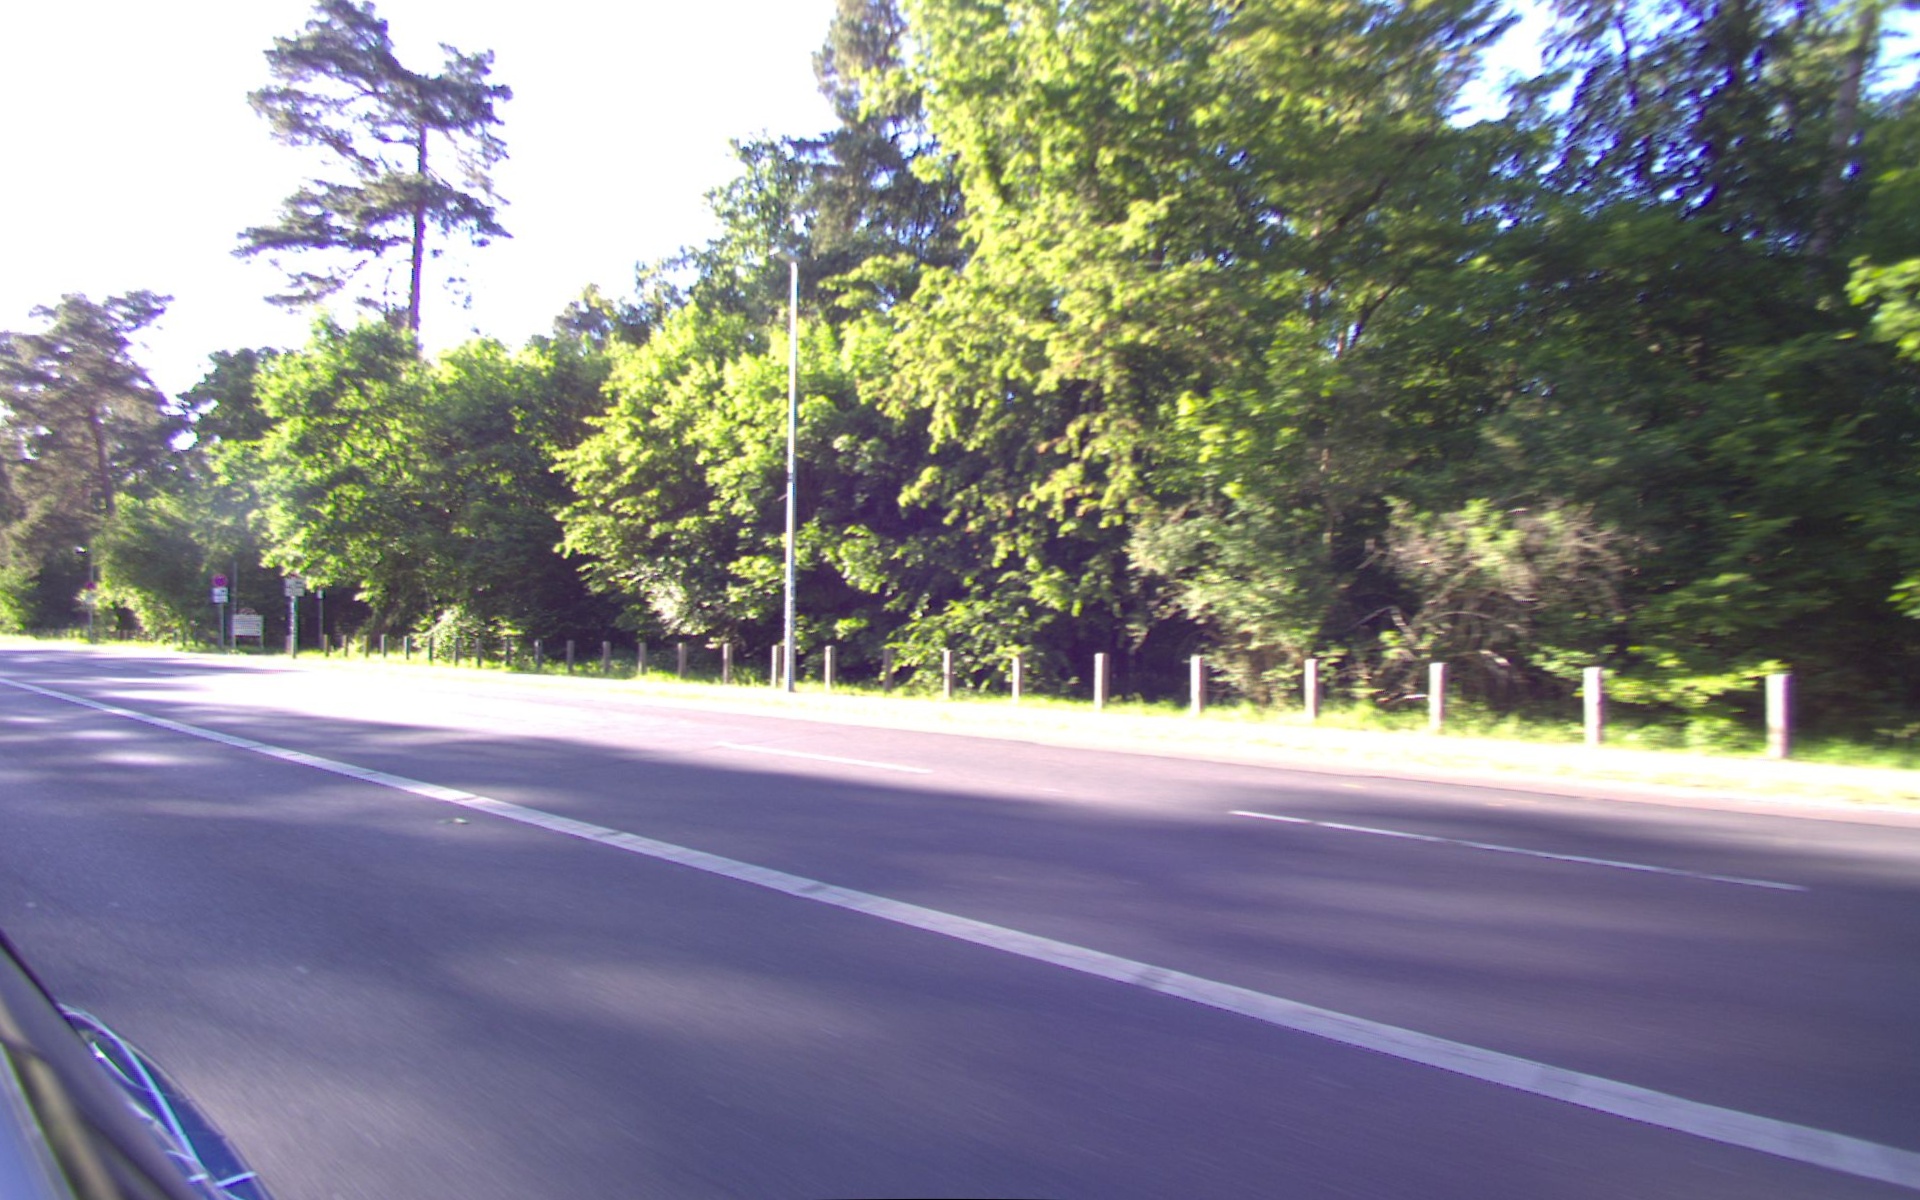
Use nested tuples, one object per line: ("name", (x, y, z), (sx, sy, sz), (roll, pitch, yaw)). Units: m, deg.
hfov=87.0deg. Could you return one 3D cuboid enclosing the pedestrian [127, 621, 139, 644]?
("pedestrian", (-48.338, 1.894, 59.159), (0.512, 1.325, 0.466), (-1, -2, 39))
